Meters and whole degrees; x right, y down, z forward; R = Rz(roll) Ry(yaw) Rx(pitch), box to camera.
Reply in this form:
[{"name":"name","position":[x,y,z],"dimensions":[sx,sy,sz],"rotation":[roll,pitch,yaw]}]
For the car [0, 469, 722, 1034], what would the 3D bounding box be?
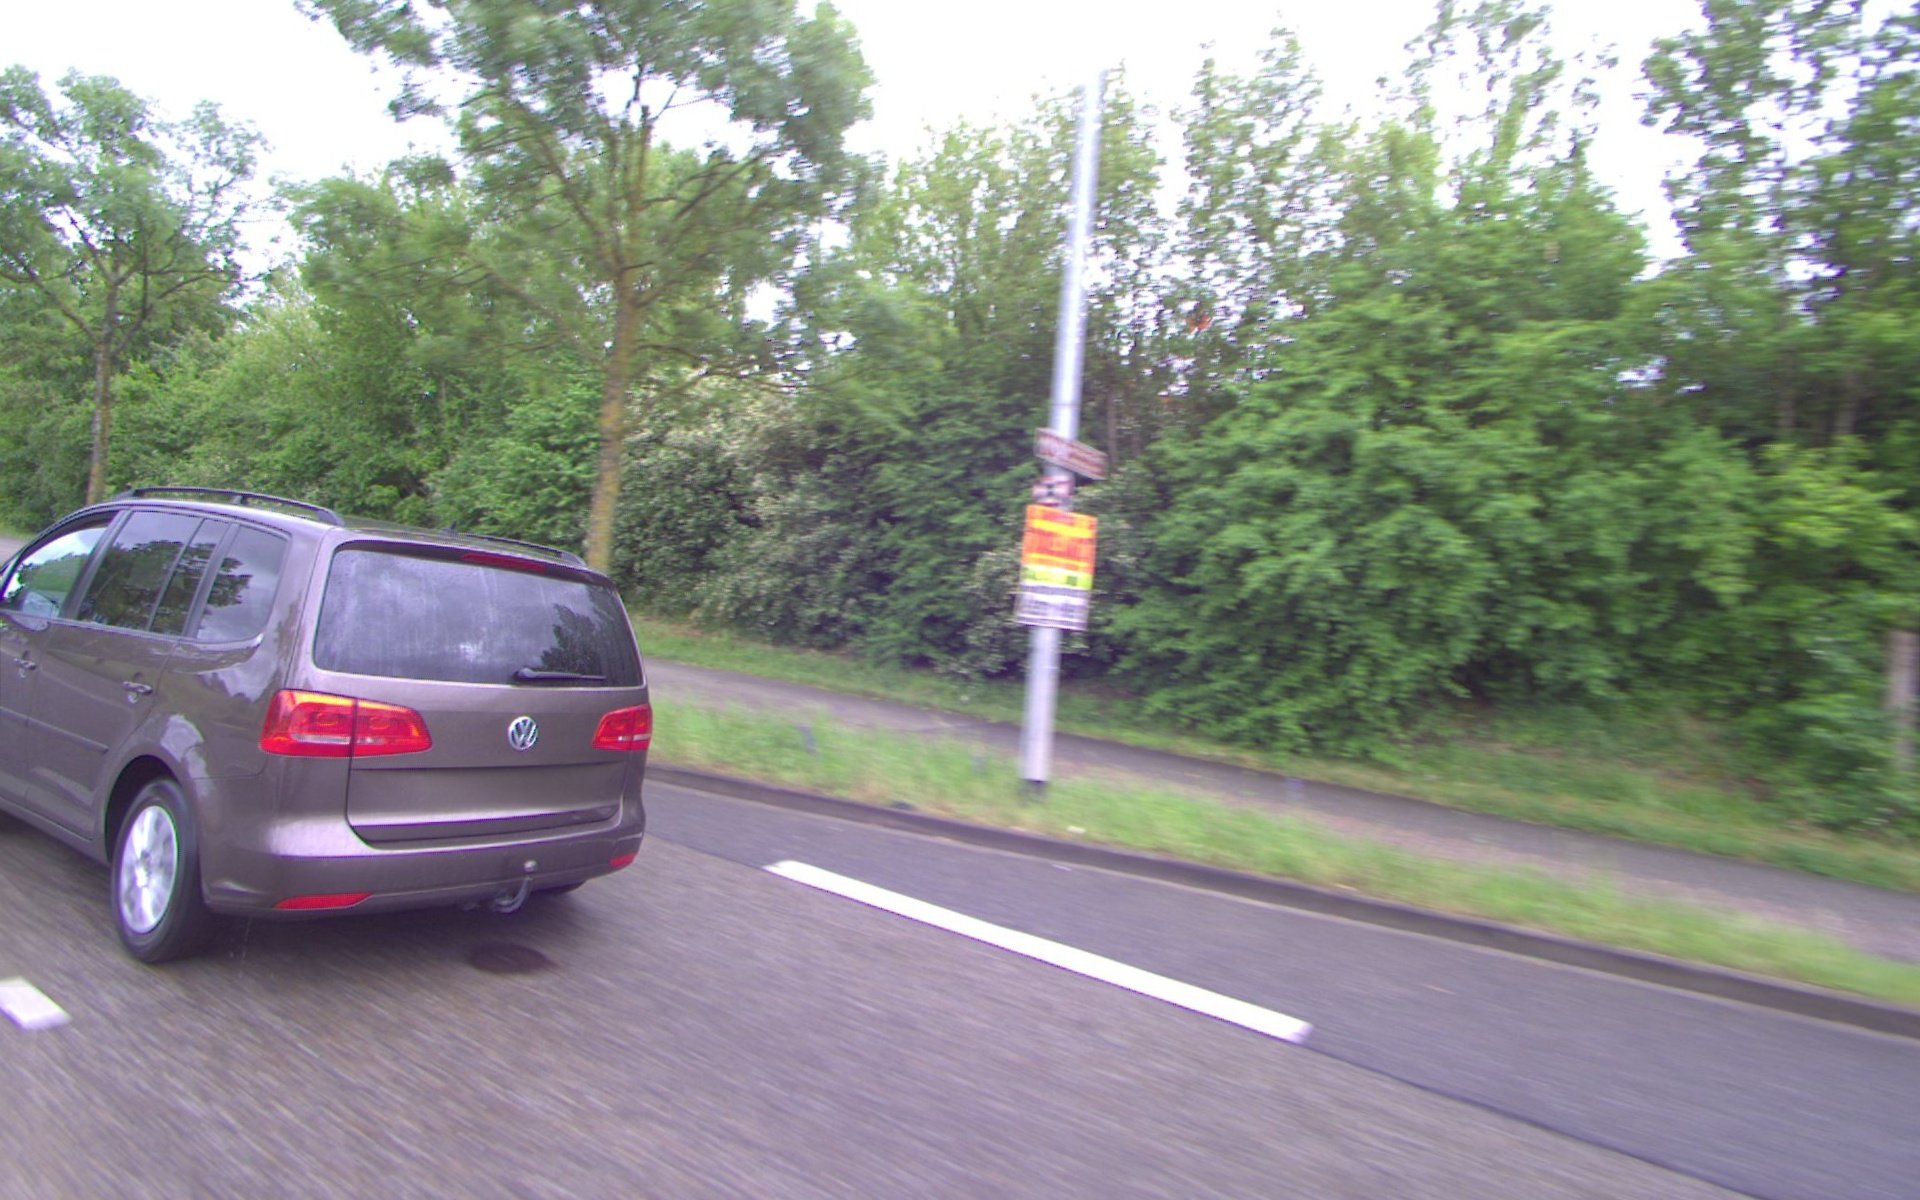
[{"name":"car","position":[-3.308,0.371,4.760],"dimensions":[4.061,1.615,1.717],"rotation":[6,-1,31]}]
